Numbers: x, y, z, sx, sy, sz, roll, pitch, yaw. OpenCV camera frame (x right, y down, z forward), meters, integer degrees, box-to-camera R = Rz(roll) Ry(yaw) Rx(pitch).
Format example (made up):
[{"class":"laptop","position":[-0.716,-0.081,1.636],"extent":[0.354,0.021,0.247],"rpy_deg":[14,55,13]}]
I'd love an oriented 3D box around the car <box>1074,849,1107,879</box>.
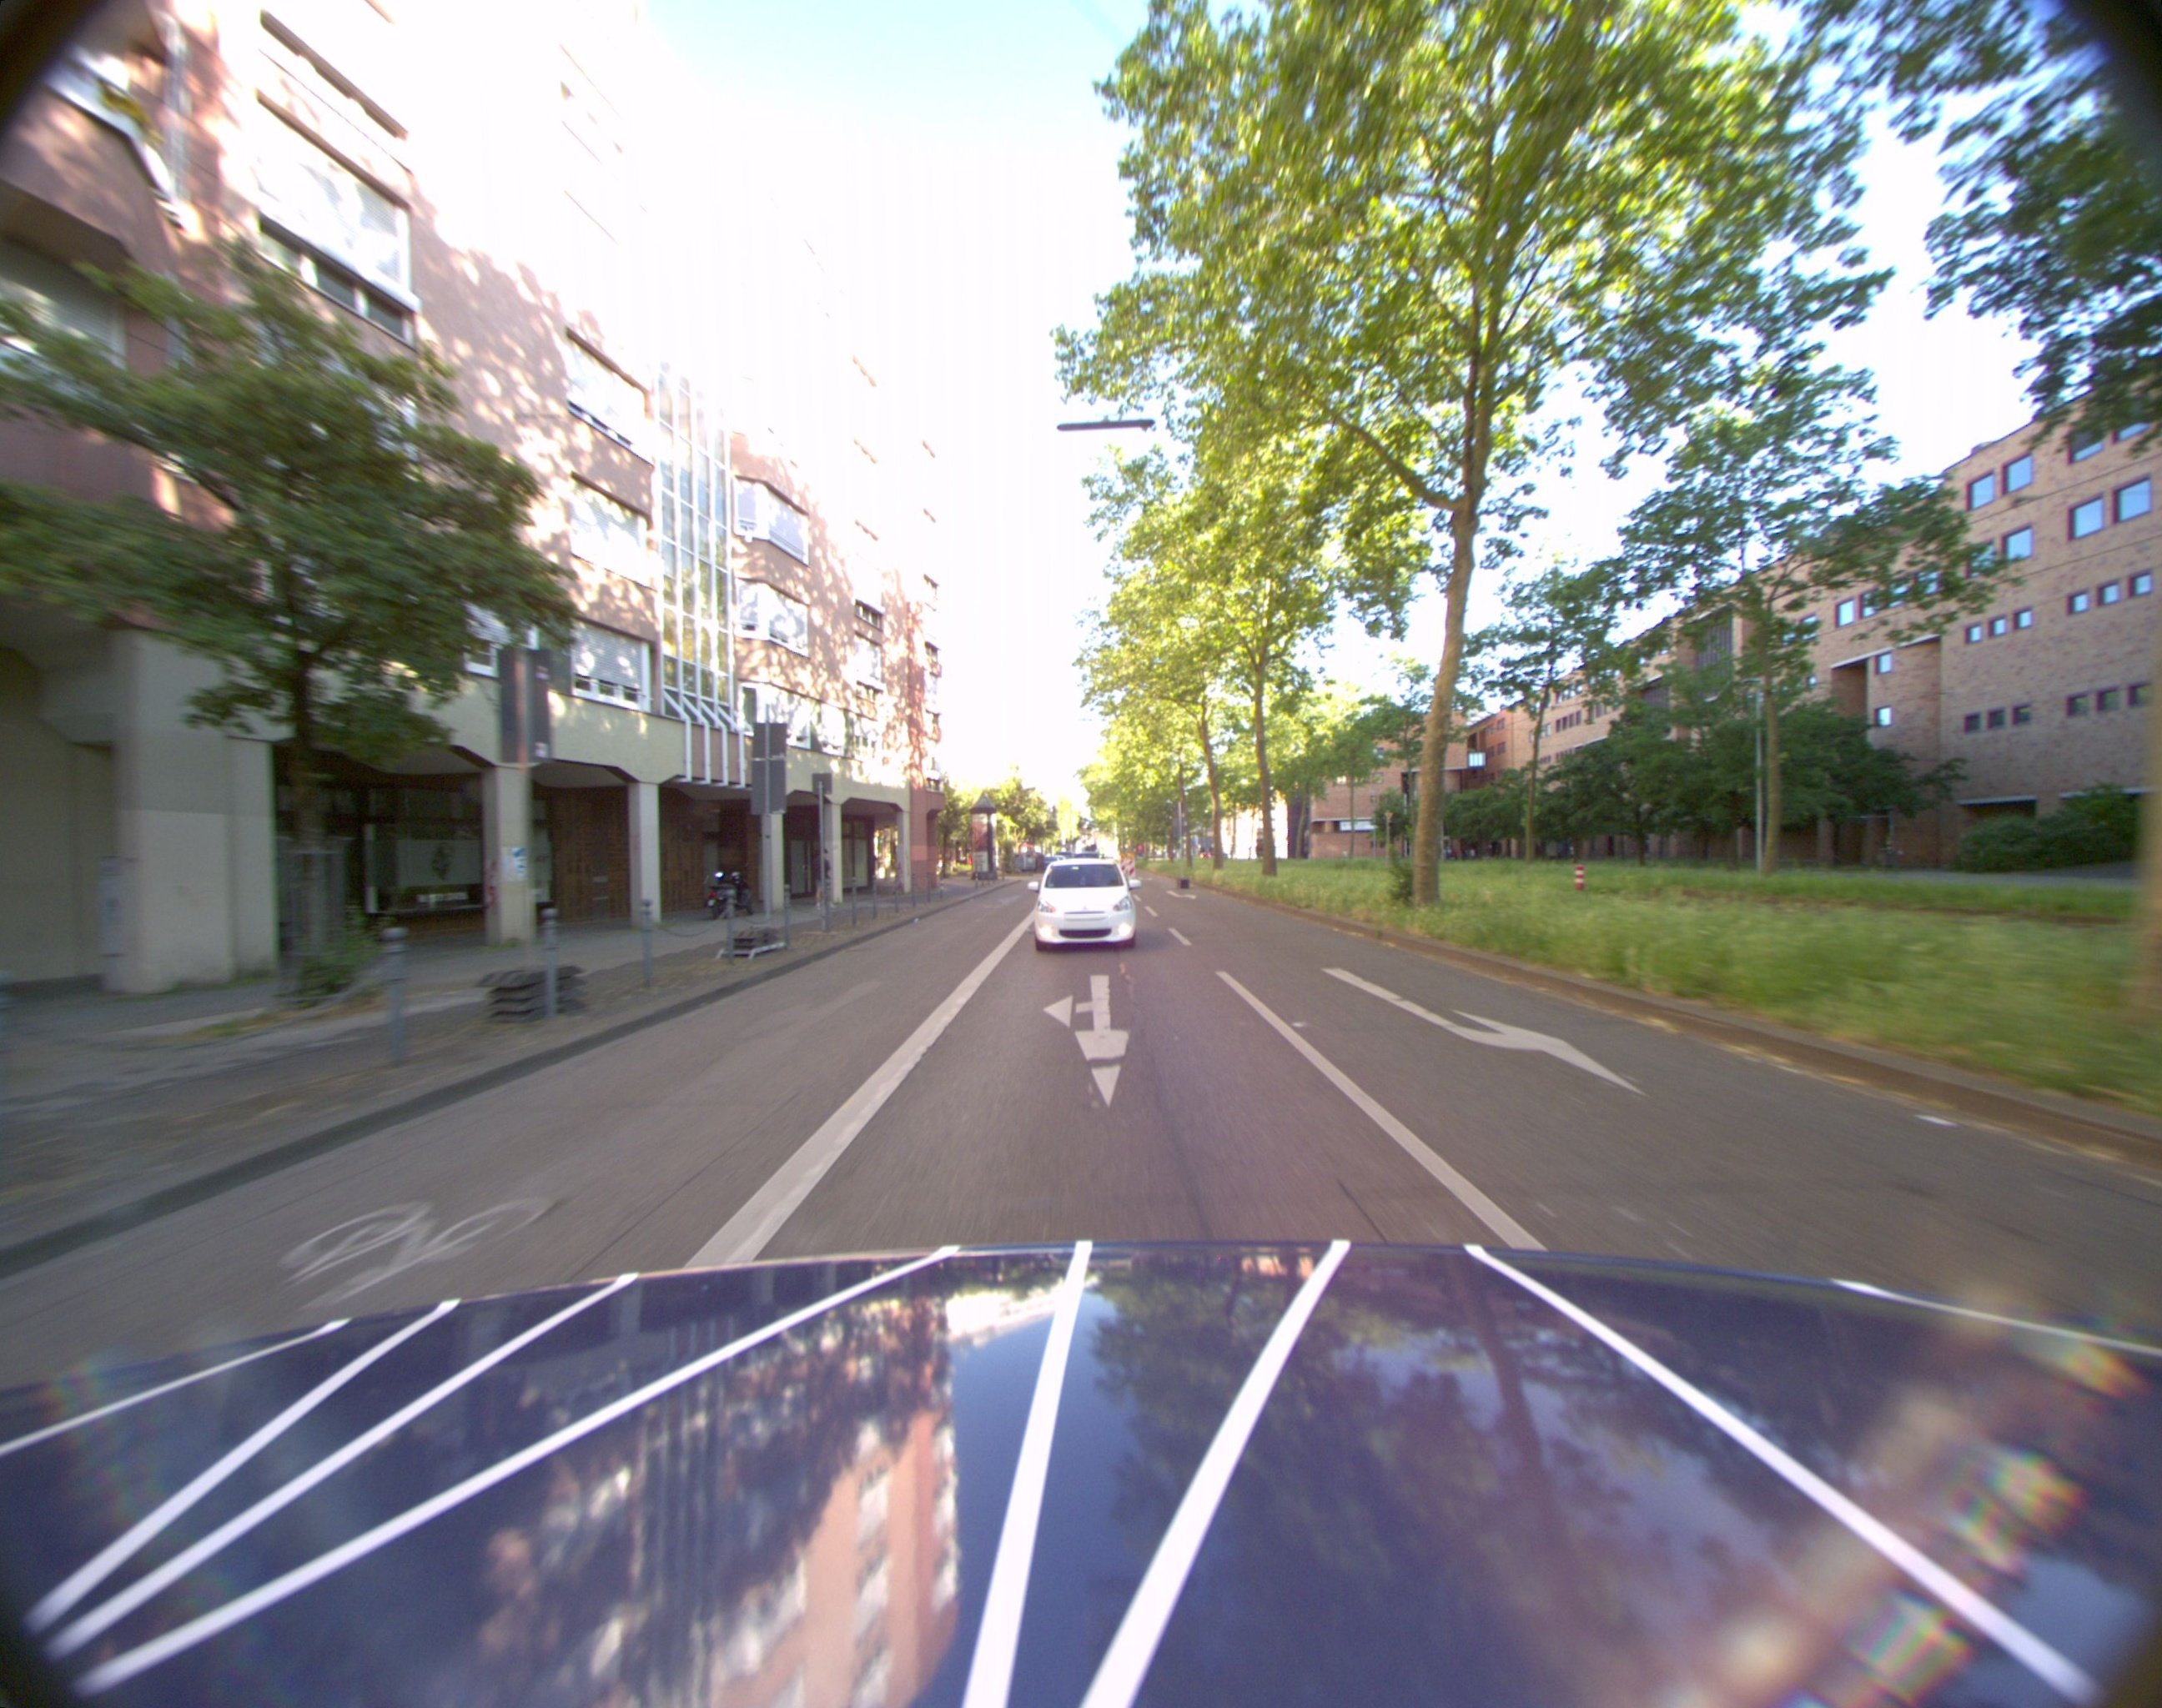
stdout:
[{"class":"car","position":[0.613,0.547,44.672],"extent":[1.824,1.630,4.000],"rpy_deg":[-1,1,2]}]

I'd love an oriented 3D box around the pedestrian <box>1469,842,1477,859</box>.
[{"class":"pedestrian","position":[36.110,-0.319,69.964],"extent":[0.484,1.497,0.463],"rpy_deg":[-1,1,-1]}]

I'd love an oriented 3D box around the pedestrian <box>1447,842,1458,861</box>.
[{"class":"pedestrian","position":[34.450,-0.222,70.476],"extent":[0.665,1.712,0.796],"rpy_deg":[-1,1,1]}]

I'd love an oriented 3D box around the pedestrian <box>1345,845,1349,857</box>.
[{"class":"pedestrian","position":[35.270,-0.437,100.745],"extent":[0.417,1.535,0.653],"rpy_deg":[-1,1,6]}]

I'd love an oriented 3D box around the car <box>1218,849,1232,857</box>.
[{"class":"car","position":[26.187,-0.147,138.432],"extent":[1.675,1.421,4.149],"rpy_deg":[-1,0,0]}]

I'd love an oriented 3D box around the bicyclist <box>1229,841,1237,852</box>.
[{"class":"bicyclist","position":[23.253,-1.145,116.389],"extent":[0.943,1.562,1.209],"rpy_deg":[-1,1,2]}]

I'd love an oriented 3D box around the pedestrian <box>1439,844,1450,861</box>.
[{"class":"pedestrian","position":[34.494,-0.126,72.160],"extent":[0.665,1.607,0.756],"rpy_deg":[-1,1,1]}]

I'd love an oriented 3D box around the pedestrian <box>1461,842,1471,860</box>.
[{"class":"pedestrian","position":[35.663,-0.304,70.456],"extent":[0.612,1.670,0.596],"rpy_deg":[-1,1,0]}]

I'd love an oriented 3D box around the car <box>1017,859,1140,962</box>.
[{"class":"car","position":[0.127,0.890,13.827],"extent":[1.720,1.442,4.426],"rpy_deg":[-3,0,6]}]

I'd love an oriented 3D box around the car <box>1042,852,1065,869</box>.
[{"class":"car","position":[-2.498,0.560,70.459],"extent":[1.705,1.475,4.249],"rpy_deg":[0,0,4]}]

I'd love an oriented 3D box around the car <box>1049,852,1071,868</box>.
[{"class":"car","position":[-2.082,0.585,76.328],"extent":[1.705,1.457,4.176],"rpy_deg":[0,0,5]}]

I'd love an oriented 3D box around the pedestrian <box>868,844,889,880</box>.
[{"class":"pedestrian","position":[-11.249,0.452,42.247],"extent":[0.847,1.970,0.819],"rpy_deg":[-1,1,11]}]

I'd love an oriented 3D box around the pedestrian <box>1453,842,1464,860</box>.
[{"class":"pedestrian","position":[35.060,-0.288,70.609],"extent":[0.665,1.607,0.756],"rpy_deg":[-1,1,1]}]

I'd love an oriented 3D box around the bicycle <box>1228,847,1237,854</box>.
[{"class":"bicycle","position":[23.258,-0.528,116.404],"extent":[0.959,1.120,2.436],"rpy_deg":[-1,1,2]}]

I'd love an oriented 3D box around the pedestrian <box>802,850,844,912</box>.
[{"class":"pedestrian","position":[-7.306,0.747,21.547],"extent":[0.782,1.728,0.837],"rpy_deg":[-1,1,10]}]

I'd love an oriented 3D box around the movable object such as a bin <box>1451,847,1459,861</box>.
[{"class":"movable object such as a bin","position":[34.332,0.003,69.738],"extent":[0.356,1.272,0.756],"rpy_deg":[-1,1,1]}]

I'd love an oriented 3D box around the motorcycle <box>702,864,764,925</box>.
[{"class":"motorcycle","position":[-8.637,0.969,18.956],"extent":[0.489,1.364,2.090],"rpy_deg":[-1,1,2]}]

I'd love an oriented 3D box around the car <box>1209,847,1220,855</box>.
[{"class":"car","position":[26.617,-0.568,151.335],"extent":[1.617,1.421,3.221],"rpy_deg":[-1,0,0]}]

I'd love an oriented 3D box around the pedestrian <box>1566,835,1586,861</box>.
[{"class":"pedestrian","position":[35.223,-0.452,54.096],"extent":[0.825,1.821,0.901],"rpy_deg":[-1,1,4]}]

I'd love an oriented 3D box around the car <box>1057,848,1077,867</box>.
[{"class":"car","position":[-1.508,0.352,83.617],"extent":[2.043,1.932,5.197],"rpy_deg":[1,0,0]}]
